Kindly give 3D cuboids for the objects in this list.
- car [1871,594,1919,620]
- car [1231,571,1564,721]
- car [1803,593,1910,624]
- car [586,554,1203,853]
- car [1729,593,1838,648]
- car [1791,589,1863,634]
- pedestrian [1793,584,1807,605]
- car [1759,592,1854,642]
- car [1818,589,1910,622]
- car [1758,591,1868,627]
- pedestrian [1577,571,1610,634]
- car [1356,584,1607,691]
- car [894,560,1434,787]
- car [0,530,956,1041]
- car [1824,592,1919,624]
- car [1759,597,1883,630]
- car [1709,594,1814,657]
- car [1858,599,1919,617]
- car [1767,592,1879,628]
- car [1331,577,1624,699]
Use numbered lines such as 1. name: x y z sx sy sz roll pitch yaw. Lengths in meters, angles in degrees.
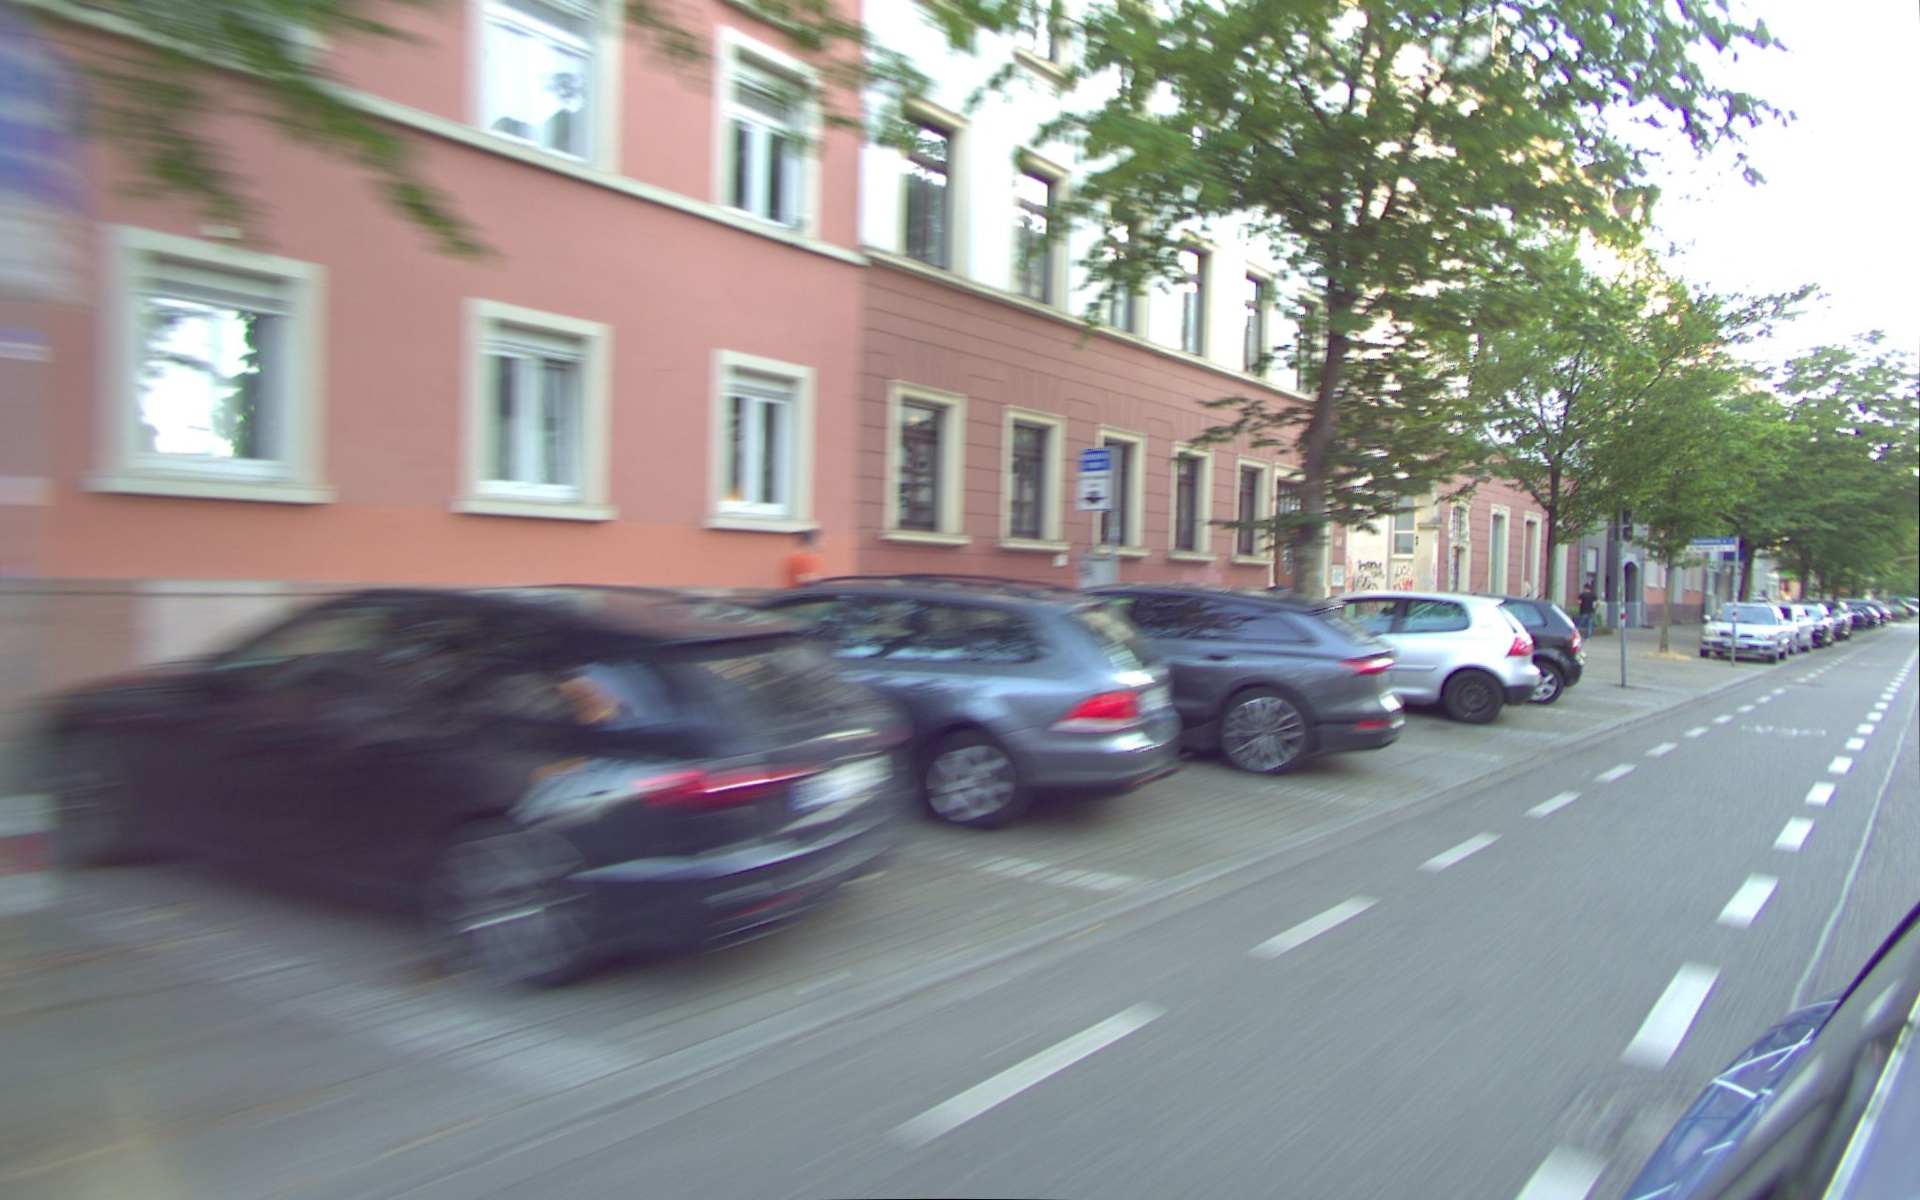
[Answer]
1. car: 105.307 0.766 112.771 5.189 2.653 1.908 4 2 30
2. car: 5.319 0.480 12.673 3.524 1.535 1.732 3 2 21
3. car: 50.148 0.436 56.682 4.377 1.482 1.693 4 2 43
4. car: -0.440 0.503 7.153 3.953 1.510 1.818 3 3 22
5. car: 24.312 0.578 29.825 4.611 1.398 1.783 0 3 -43
6. car: 35.641 0.442 41.554 1.881 1.637 4.193 6 4 44
7. pedestrian: 73.113 -0.485 88.081 0.600 1.855 0.561 4 0 -8
8. car: 29.116 0.536 34.761 4.953 1.507 1.995 0 2 -44
9. car: 58.165 0.313 65.189 3.959 1.838 1.809 4 1 25
10. car: 44.336 0.469 52.690 3.959 1.613 1.705 3 1 25
11. pedestrian: 18.766 0.078 29.972 0.590 1.839 0.681 1 1 -44
12. car: 8.412 0.539 16.558 3.460 1.446 1.606 2 3 27
13. car: 1.831 0.496 9.296 4.409 1.535 2.047 3 2 23
14. car: -2.469 0.519 4.862 4.566 1.475 1.698 4 2 22
15. car: 55.160 0.477 61.057 4.147 1.717 1.832 3 1 24
16. car: 41.467 0.620 48.854 4.211 1.405 1.610 2 1 21
17. car: 20.409 0.596 25.728 3.714 1.398 1.620 0 3 -45
18. car: 95.917 0.831 104.332 4.579 1.536 1.799 4 1 20
19. car: 43.393 0.488 50.991 3.939 1.573 1.702 3 1 29
20. car: 7.245 0.466 14.573 3.524 1.446 1.658 3 2 21
